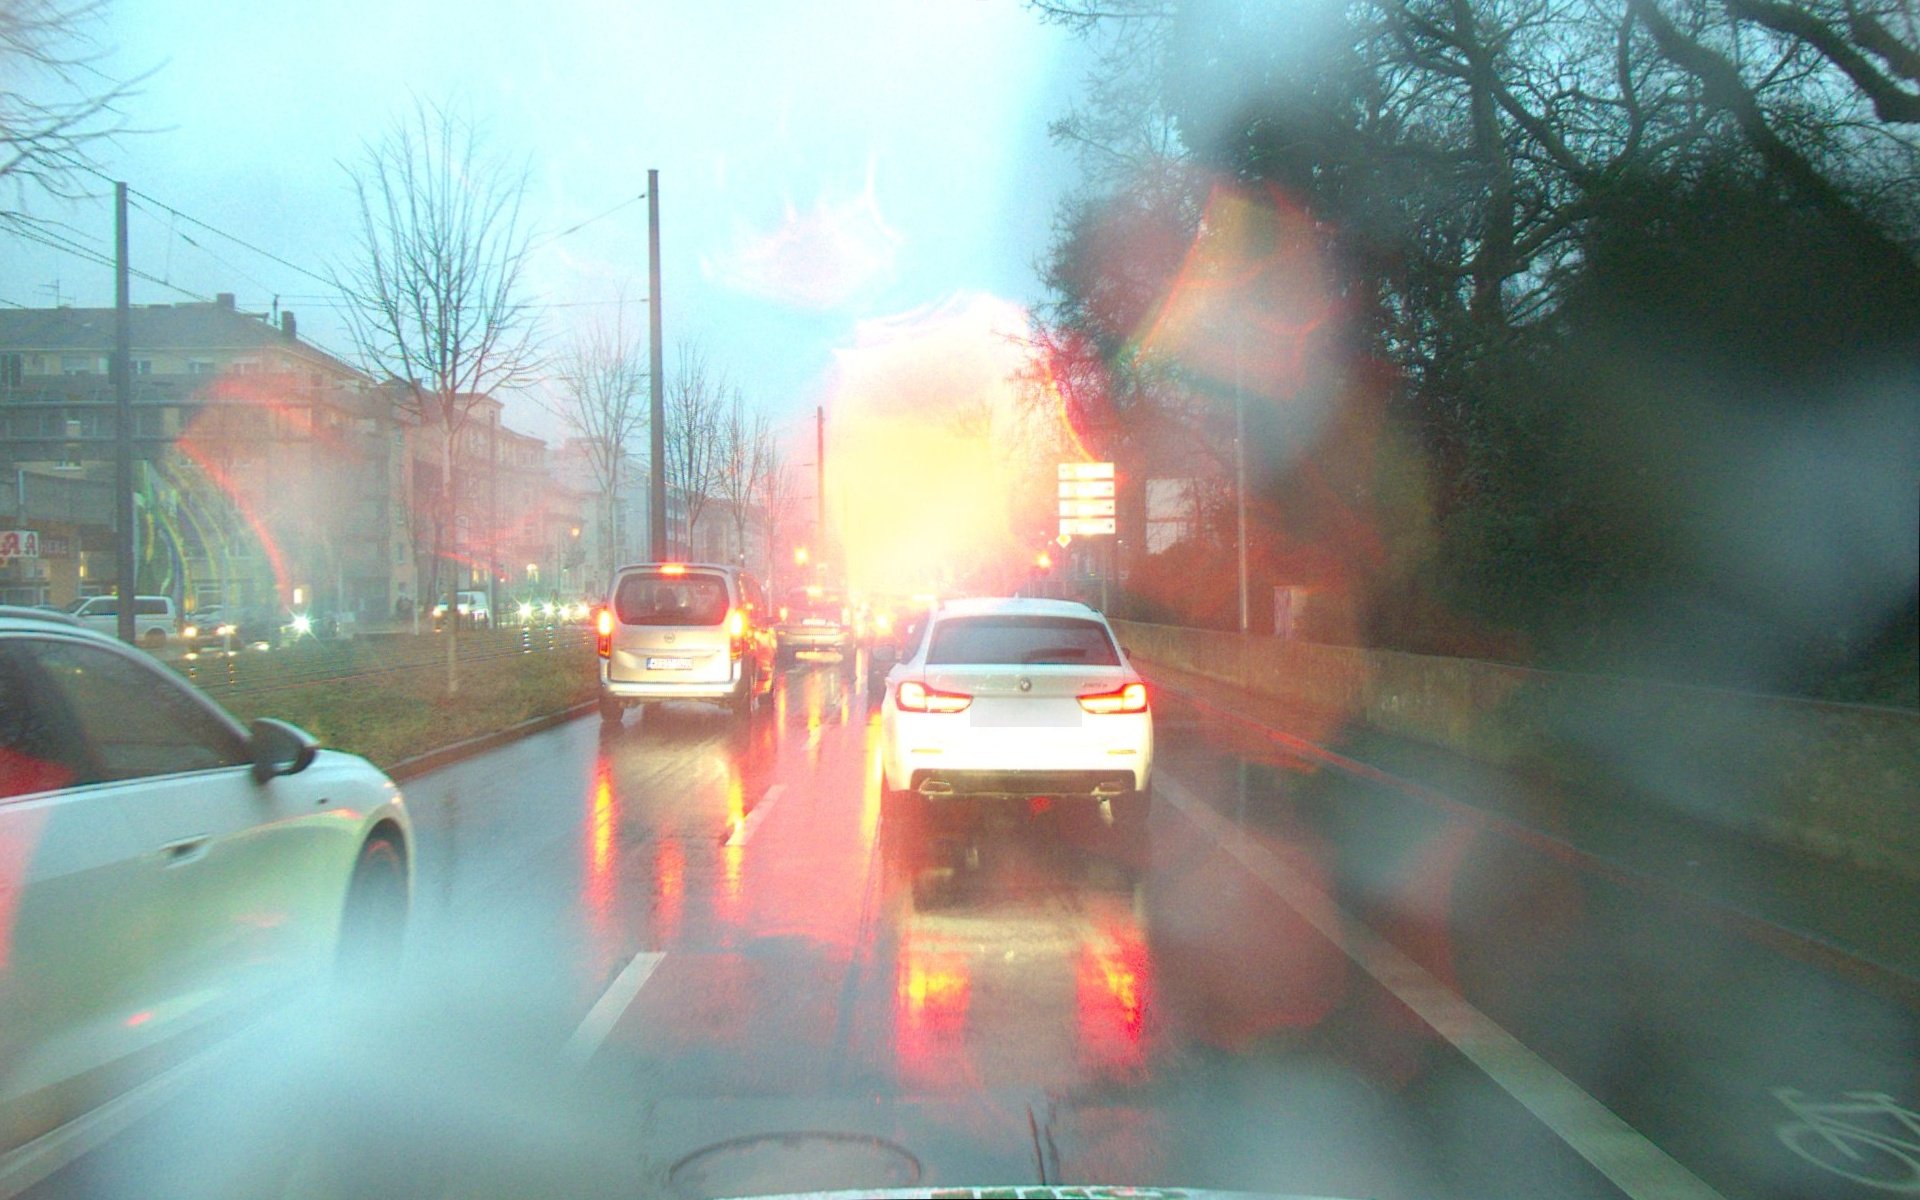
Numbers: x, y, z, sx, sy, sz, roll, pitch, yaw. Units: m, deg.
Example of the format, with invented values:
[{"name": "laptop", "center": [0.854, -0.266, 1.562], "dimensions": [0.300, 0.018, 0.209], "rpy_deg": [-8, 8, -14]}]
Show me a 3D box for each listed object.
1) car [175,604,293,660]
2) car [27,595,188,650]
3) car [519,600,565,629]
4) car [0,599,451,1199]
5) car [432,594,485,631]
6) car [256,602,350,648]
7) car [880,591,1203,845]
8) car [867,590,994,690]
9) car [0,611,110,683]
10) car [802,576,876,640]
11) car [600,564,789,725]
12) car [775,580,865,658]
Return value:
[{"name": "car", "center": [-24.685, 1.058, 56.450], "dimensions": [1.857, 1.749, 4.916], "rpy_deg": [-1, 0, 0]}, {"name": "car", "center": [-32.678, 0.842, 63.519], "dimensions": [1.966, 1.945, 5.129], "rpy_deg": [-1, 0, 43]}, {"name": "car", "center": [-25.343, 0.836, 100.463], "dimensions": [1.858, 1.662, 4.577], "rpy_deg": [-1, 0, -4]}, {"name": "car", "center": [-2.802, 0.716, 3.924], "dimensions": [1.809, 1.430, 4.613], "rpy_deg": [1, 0, -1]}, {"name": "car", "center": [-27.986, 0.658, 92.438], "dimensions": [1.956, 1.945, 5.155], "rpy_deg": [-1, 0, -7]}, {"name": "car", "center": [-26.590, 0.978, 67.142], "dimensions": [1.857, 1.749, 4.916], "rpy_deg": [-1, 0, 0]}, {"name": "car", "center": [0.463, 0.702, 12.121], "dimensions": [1.959, 1.534, 4.162], "rpy_deg": [0, 0, -1]}, {"name": "car", "center": [-0.479, 0.582, 26.778], "dimensions": [1.896, 1.483, 4.162], "rpy_deg": [0, 0, -1]}, {"name": "car", "center": [-25.828, 1.274, 46.235], "dimensions": [1.857, 1.844, 4.529], "rpy_deg": [-1, 0, -1]}, {"name": "car", "center": [-3.509, 0.228, 48.485], "dimensions": [1.953, 1.785, 3.999], "rpy_deg": [1, 0, -2]}, {"name": "car", "center": [-3.184, 0.498, 20.645], "dimensions": [1.757, 1.766, 4.535], "rpy_deg": [1, 0, -2]}, {"name": "car", "center": [-3.162, 0.402, 37.955], "dimensions": [1.770, 1.674, 3.999], "rpy_deg": [0, 0, -1]}]
